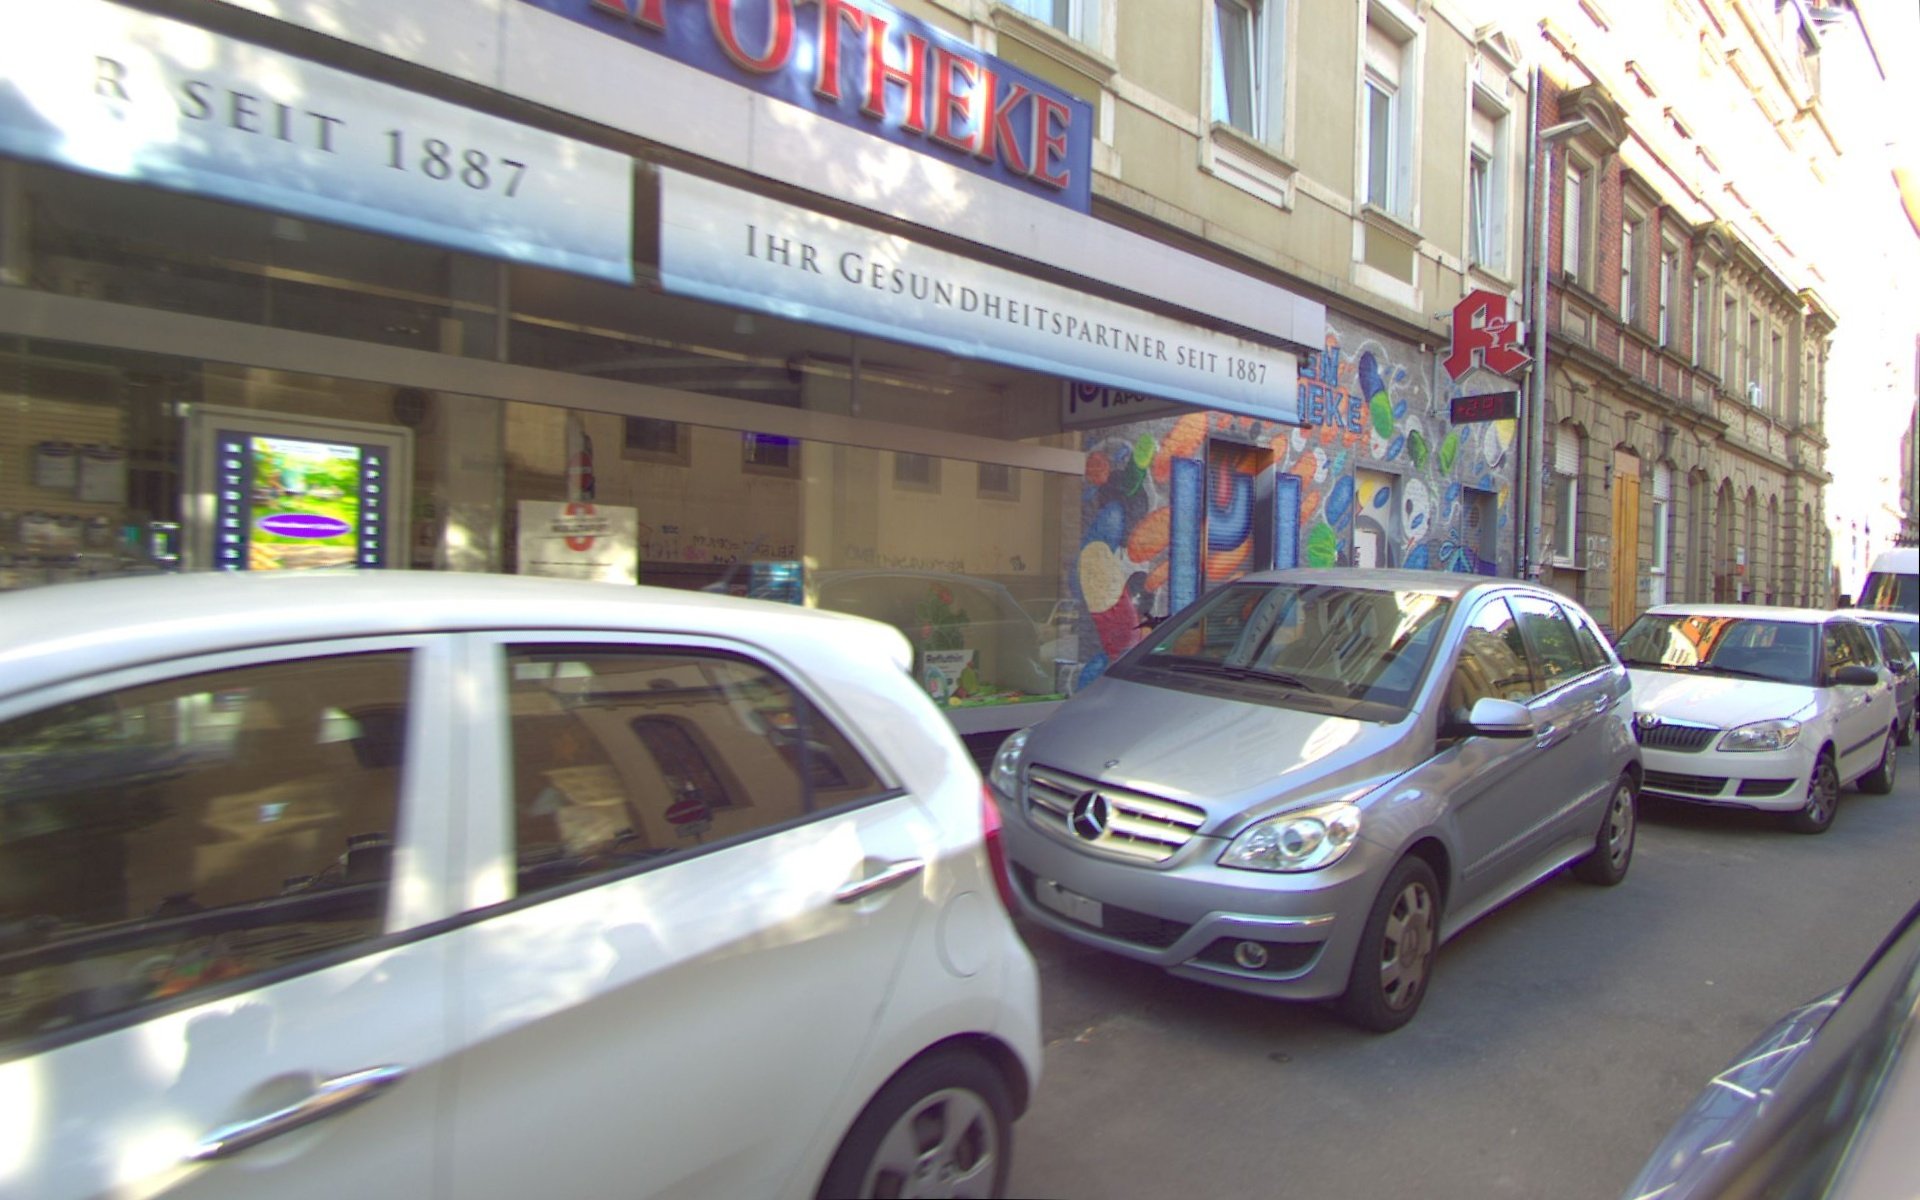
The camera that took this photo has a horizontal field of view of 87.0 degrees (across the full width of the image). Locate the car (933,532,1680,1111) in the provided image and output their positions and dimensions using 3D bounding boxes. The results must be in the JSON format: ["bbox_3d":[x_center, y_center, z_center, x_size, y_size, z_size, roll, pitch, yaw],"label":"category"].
[{"bbox_3d":[1.933,0.615,4.895,3.994,1.671,1.702,-1,1,-42],"label":"car"}]

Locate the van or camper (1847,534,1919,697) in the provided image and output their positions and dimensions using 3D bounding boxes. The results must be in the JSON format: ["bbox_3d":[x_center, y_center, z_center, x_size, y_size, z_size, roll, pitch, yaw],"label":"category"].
[{"bbox_3d":[17.924,0.230,18.299,5.874,2.665,1.997,-1,0,-40],"label":"van or camper"}]

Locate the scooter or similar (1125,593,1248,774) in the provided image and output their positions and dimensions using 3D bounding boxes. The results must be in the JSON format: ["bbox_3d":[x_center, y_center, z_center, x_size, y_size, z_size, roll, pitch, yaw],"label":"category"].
[{"bbox_3d":[1.751,0.597,7.761,1.018,1.296,0.395,0,0,-41],"label":"scooter or similar"}]

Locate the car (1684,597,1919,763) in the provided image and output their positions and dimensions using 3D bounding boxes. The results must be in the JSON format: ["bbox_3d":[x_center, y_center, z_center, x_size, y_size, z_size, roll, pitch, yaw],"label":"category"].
[{"bbox_3d":[9.575,0.733,11.161,3.841,1.505,1.590,0,1,-38],"label":"car"}]

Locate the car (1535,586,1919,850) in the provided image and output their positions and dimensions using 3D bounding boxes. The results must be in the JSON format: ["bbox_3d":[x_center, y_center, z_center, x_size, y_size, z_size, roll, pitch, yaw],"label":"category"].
[{"bbox_3d":[6.117,0.670,7.872,4.127,1.545,1.557,-1,1,-40],"label":"car"}]

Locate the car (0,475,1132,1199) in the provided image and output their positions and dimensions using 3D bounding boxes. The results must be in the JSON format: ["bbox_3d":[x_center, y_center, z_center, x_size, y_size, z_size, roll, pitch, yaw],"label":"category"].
[{"bbox_3d":[-1.474,0.608,1.708,3.580,1.481,1.691,-1,1,-43],"label":"car"}]

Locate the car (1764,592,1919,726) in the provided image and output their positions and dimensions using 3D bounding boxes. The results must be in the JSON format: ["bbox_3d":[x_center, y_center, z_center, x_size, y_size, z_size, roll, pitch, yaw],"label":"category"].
[{"bbox_3d":[13.452,0.733,14.661,4.483,1.667,1.997,-1,1,-40],"label":"car"}]
